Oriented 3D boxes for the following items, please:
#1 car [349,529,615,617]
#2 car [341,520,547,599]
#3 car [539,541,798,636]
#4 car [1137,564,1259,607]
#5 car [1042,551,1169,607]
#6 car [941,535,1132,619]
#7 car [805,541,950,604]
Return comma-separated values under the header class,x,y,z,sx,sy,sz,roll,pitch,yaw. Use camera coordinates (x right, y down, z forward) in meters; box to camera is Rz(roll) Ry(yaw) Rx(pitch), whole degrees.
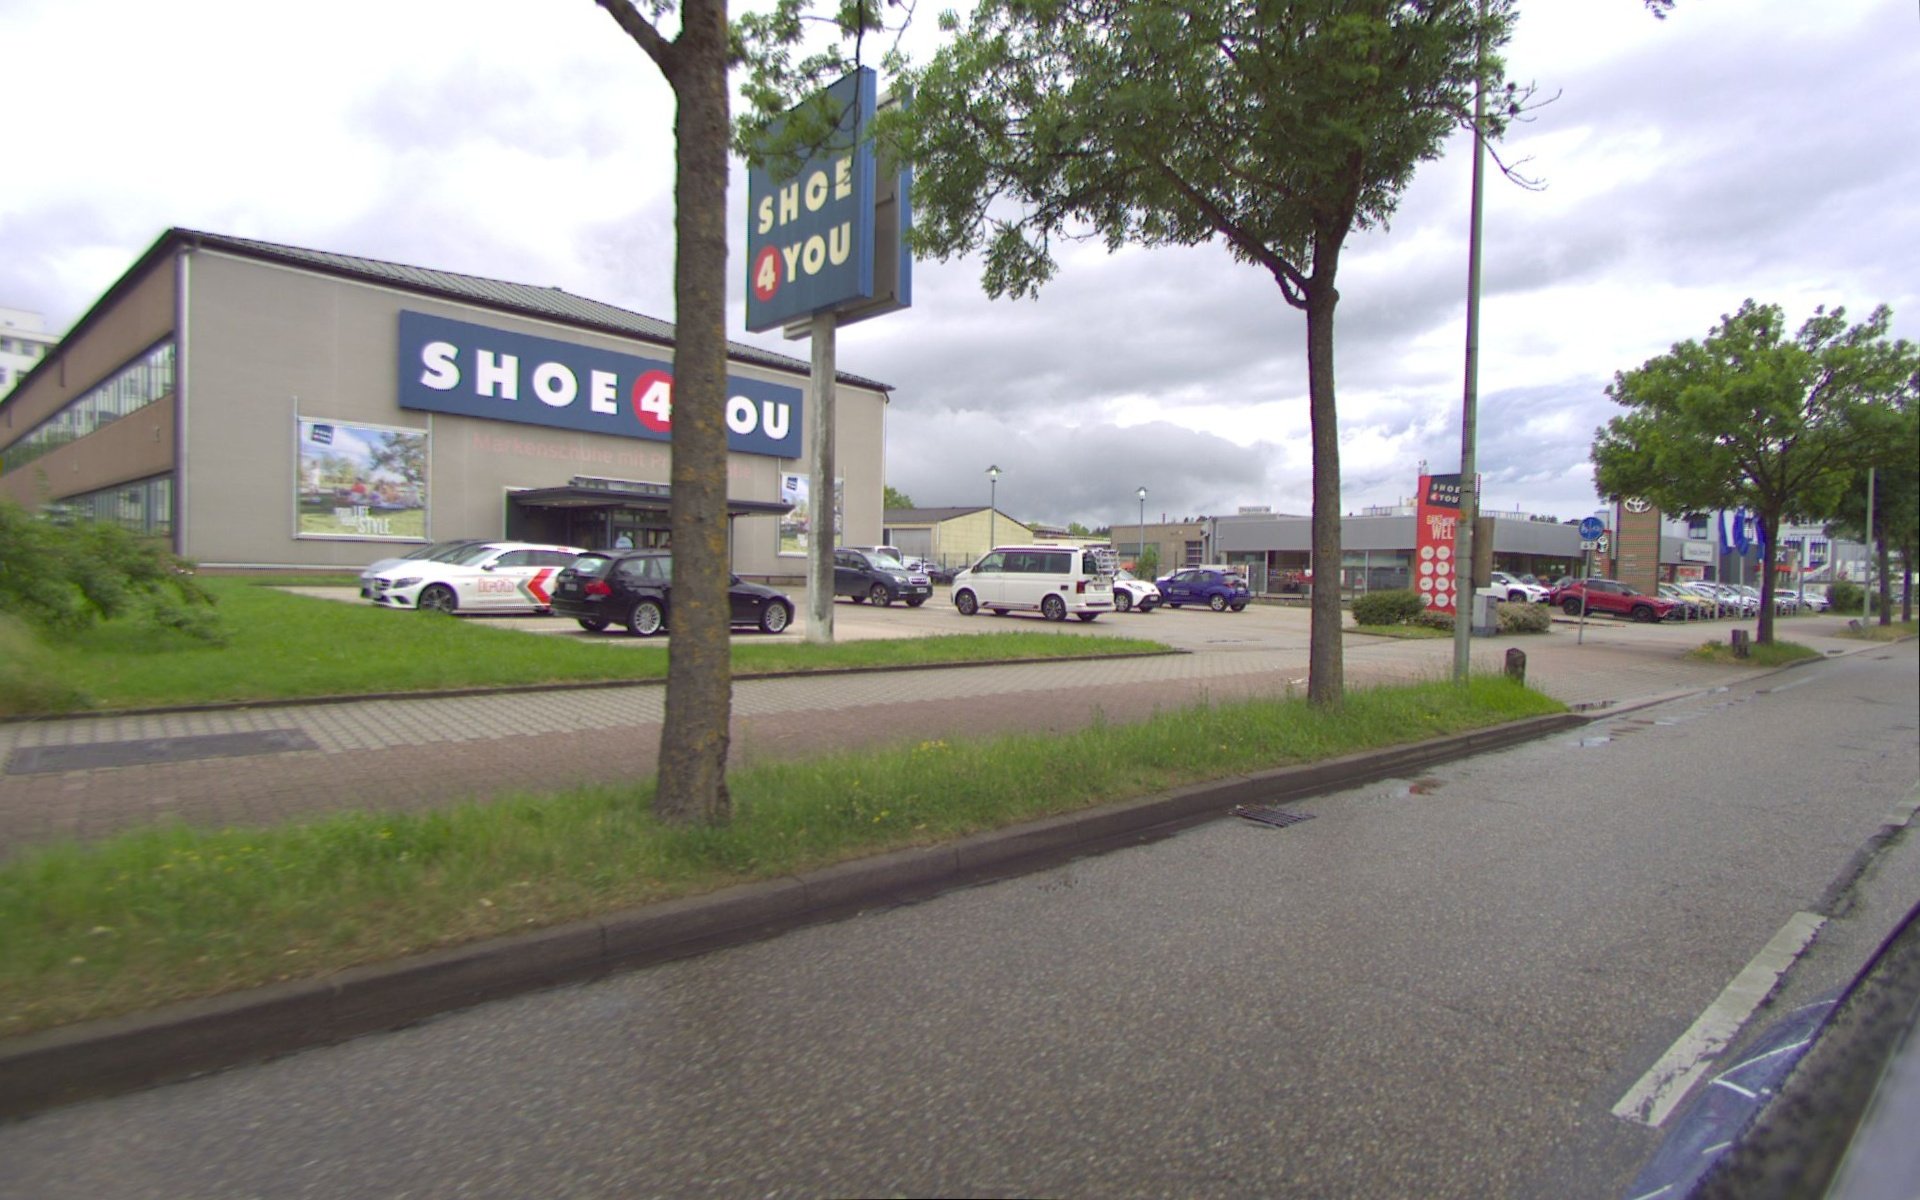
class,x,y,z,sx,sy,sz,roll,pitch,yaw
car,-9.417,-0.503,20.236,1.896,1.567,4.461,0,1,40
car,-11.327,-0.835,22.349,1.992,1.571,3.604,0,1,41
car,-4.957,-0.234,17.642,1.747,1.430,4.077,4,3,40
car,8.659,-0.554,36.939,3.981,1.415,1.653,3,2,39
car,4.925,-0.692,34.525,3.983,1.820,1.796,0,0,41
car,2.031,-0.697,27.811,4.940,2.038,1.973,4,3,38
car,-2.664,-0.902,32.011,4.435,1.784,1.971,4,3,40
